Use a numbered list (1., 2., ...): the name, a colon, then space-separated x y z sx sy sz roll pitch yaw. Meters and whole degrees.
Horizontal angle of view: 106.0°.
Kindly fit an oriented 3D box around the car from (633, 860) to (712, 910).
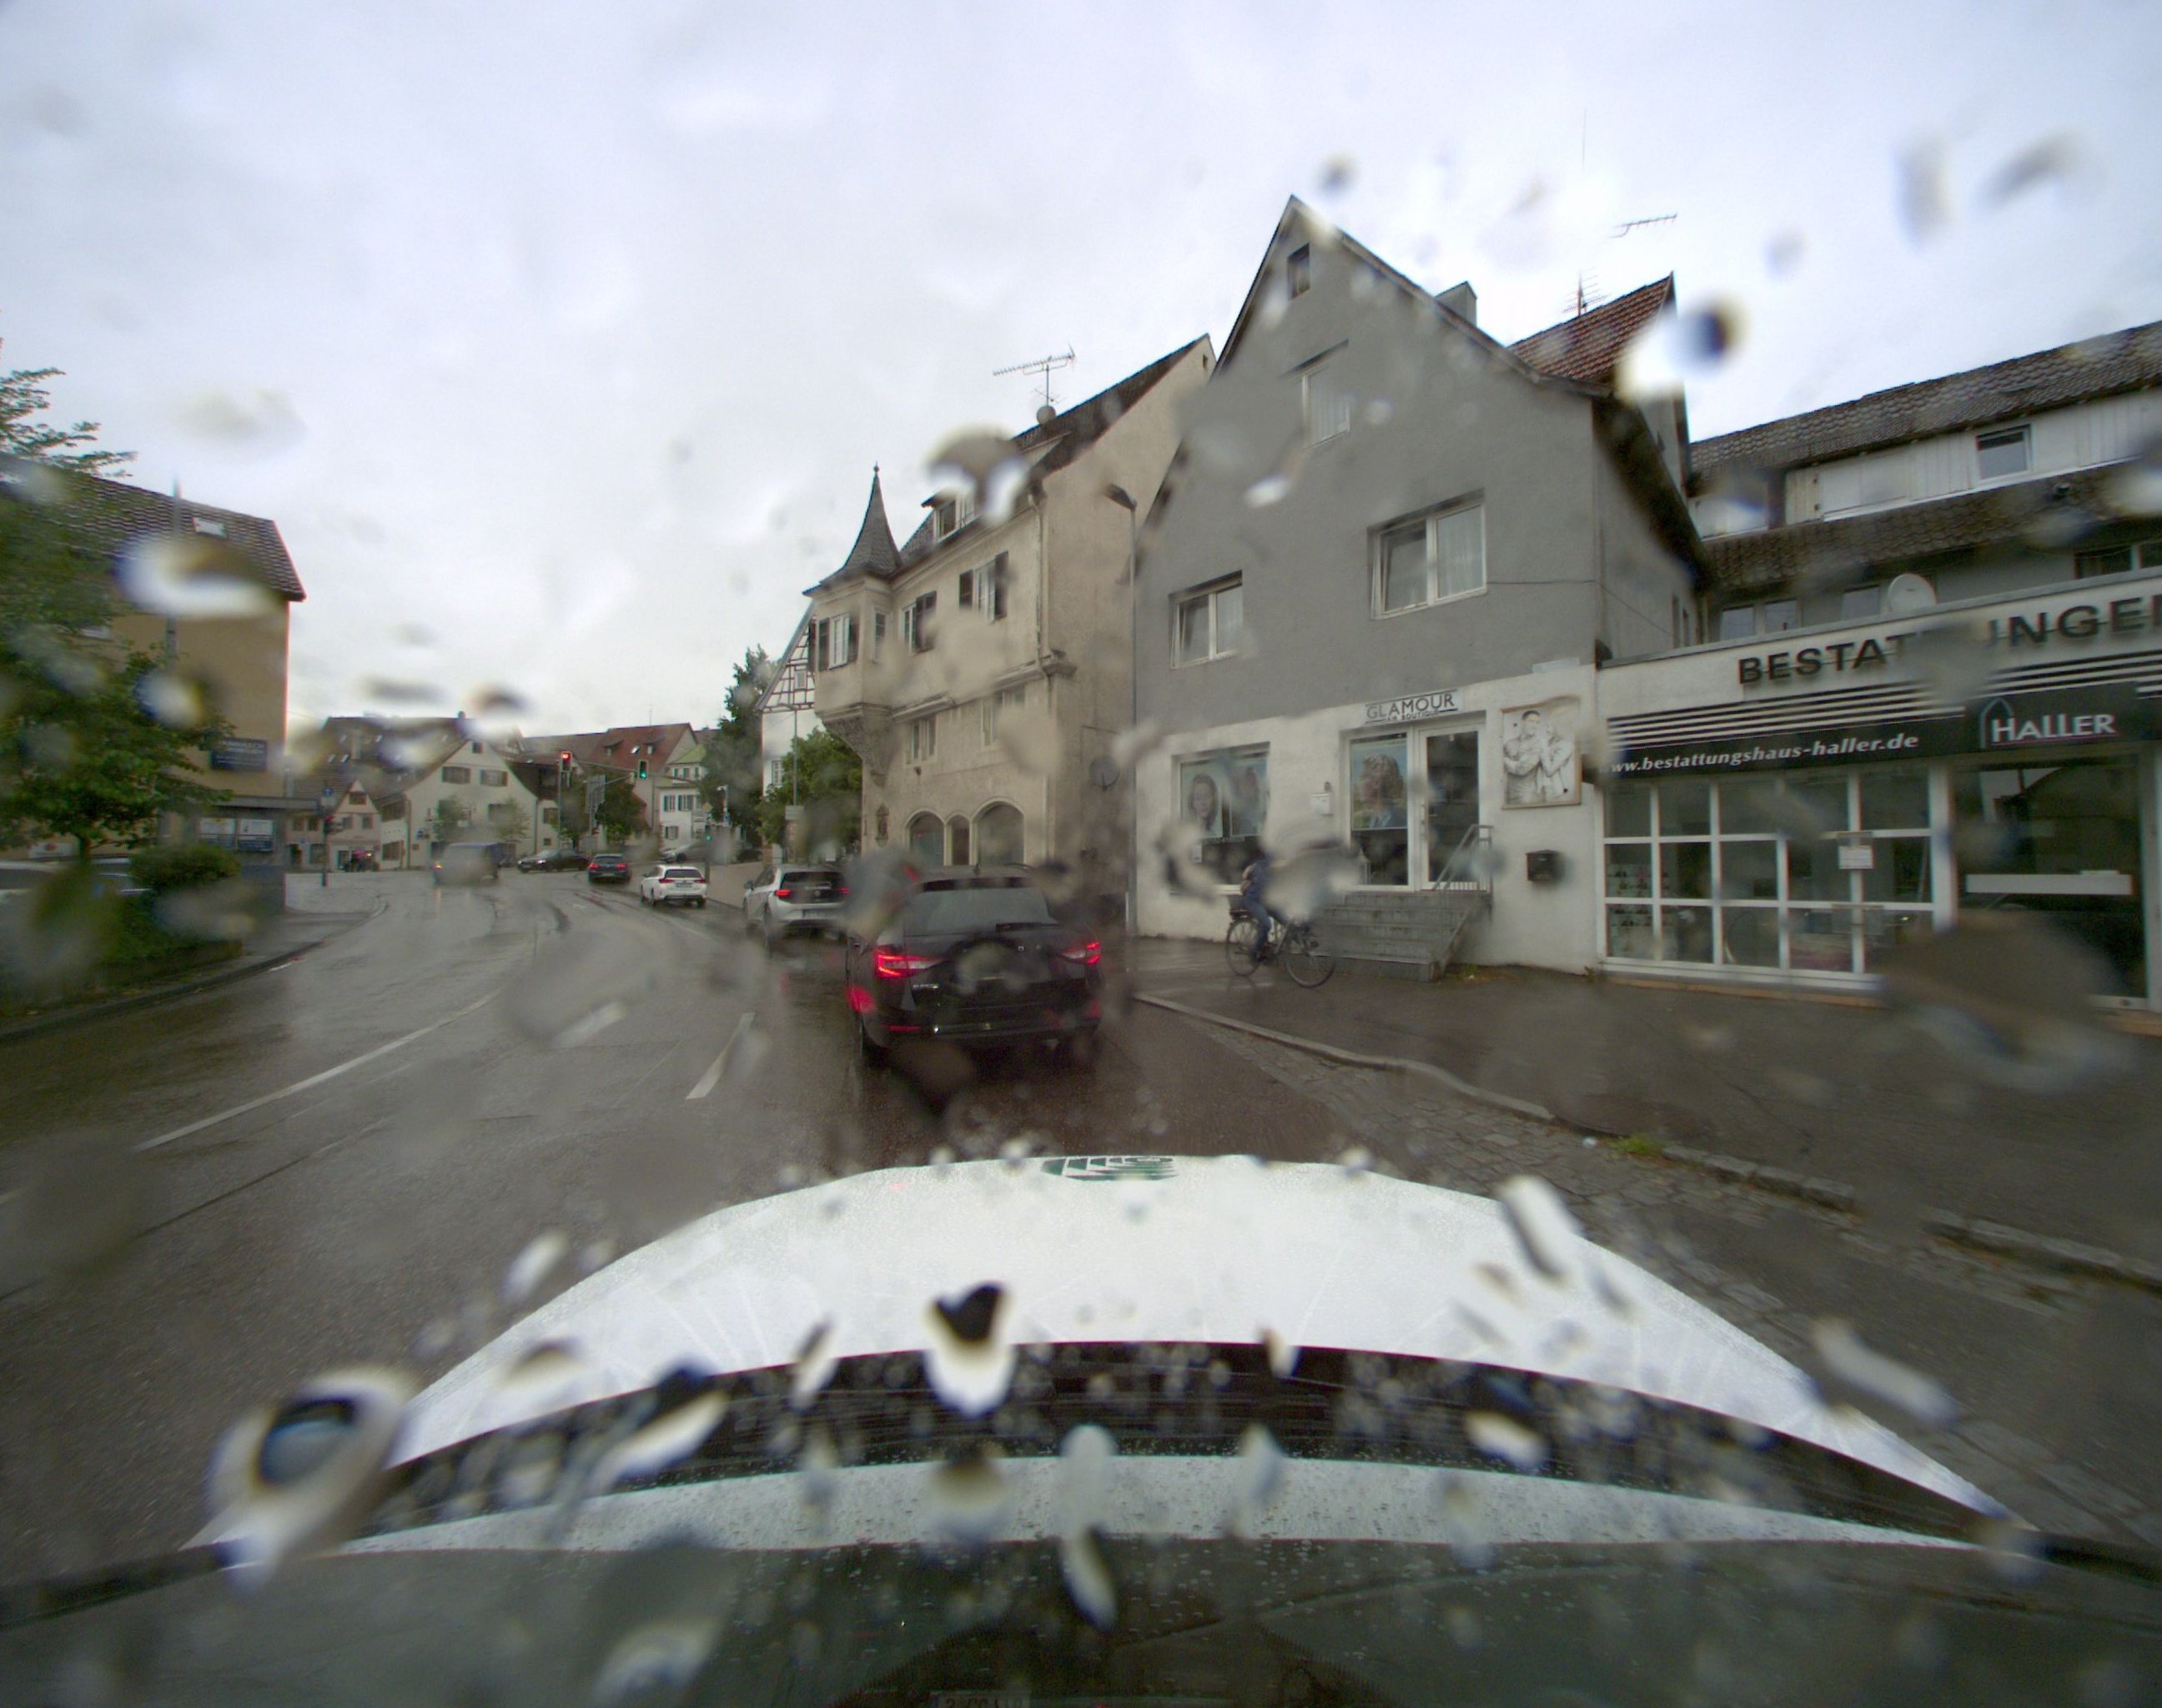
1. car: -15.111 1.069 29.995 1.899 1.596 4.278 1 0 -36

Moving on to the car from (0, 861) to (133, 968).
1. car: -17.562 0.924 12.421 1.975 1.629 3.667 -1 -1 28

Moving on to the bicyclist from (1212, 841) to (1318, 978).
1. bicyclist: 2.167 0.610 9.625 1.017 1.518 0.689 0 0 43

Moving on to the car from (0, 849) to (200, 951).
1. car: -22.929 1.042 17.597 1.937 1.824 4.968 2 6 35

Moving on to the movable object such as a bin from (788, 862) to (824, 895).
1. movable object such as a bin: -11.096 0.969 32.808 1.162 1.313 1.175 0 -1 -30

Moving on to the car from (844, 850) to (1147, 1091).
1. car: -1.101 0.712 7.338 1.891 1.448 4.331 1 0 -18

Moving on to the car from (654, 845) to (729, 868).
1. car: -28.364 0.189 59.396 1.974 1.591 4.507 -1 -1 39

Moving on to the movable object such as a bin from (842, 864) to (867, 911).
1. movable object such as a bin: -7.281 1.055 26.171 0.636 1.441 0.416 3 3 31

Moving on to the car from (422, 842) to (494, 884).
1. car: -29.795 0.387 39.089 2.005 1.881 4.339 1 0 -28

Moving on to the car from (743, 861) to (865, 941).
1. car: -6.231 0.937 18.022 1.867 1.473 3.963 1 0 -29

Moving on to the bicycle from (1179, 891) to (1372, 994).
1. bicycle: 2.216 0.965 9.451 2.054 1.035 0.768 -1 -3 41

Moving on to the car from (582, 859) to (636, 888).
1. car: -23.835 0.960 41.245 2.003 1.302 3.967 1 0 -25

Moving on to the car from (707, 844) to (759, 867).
1. car: -23.882 0.068 55.989 1.573 1.524 3.442 1 0 10
